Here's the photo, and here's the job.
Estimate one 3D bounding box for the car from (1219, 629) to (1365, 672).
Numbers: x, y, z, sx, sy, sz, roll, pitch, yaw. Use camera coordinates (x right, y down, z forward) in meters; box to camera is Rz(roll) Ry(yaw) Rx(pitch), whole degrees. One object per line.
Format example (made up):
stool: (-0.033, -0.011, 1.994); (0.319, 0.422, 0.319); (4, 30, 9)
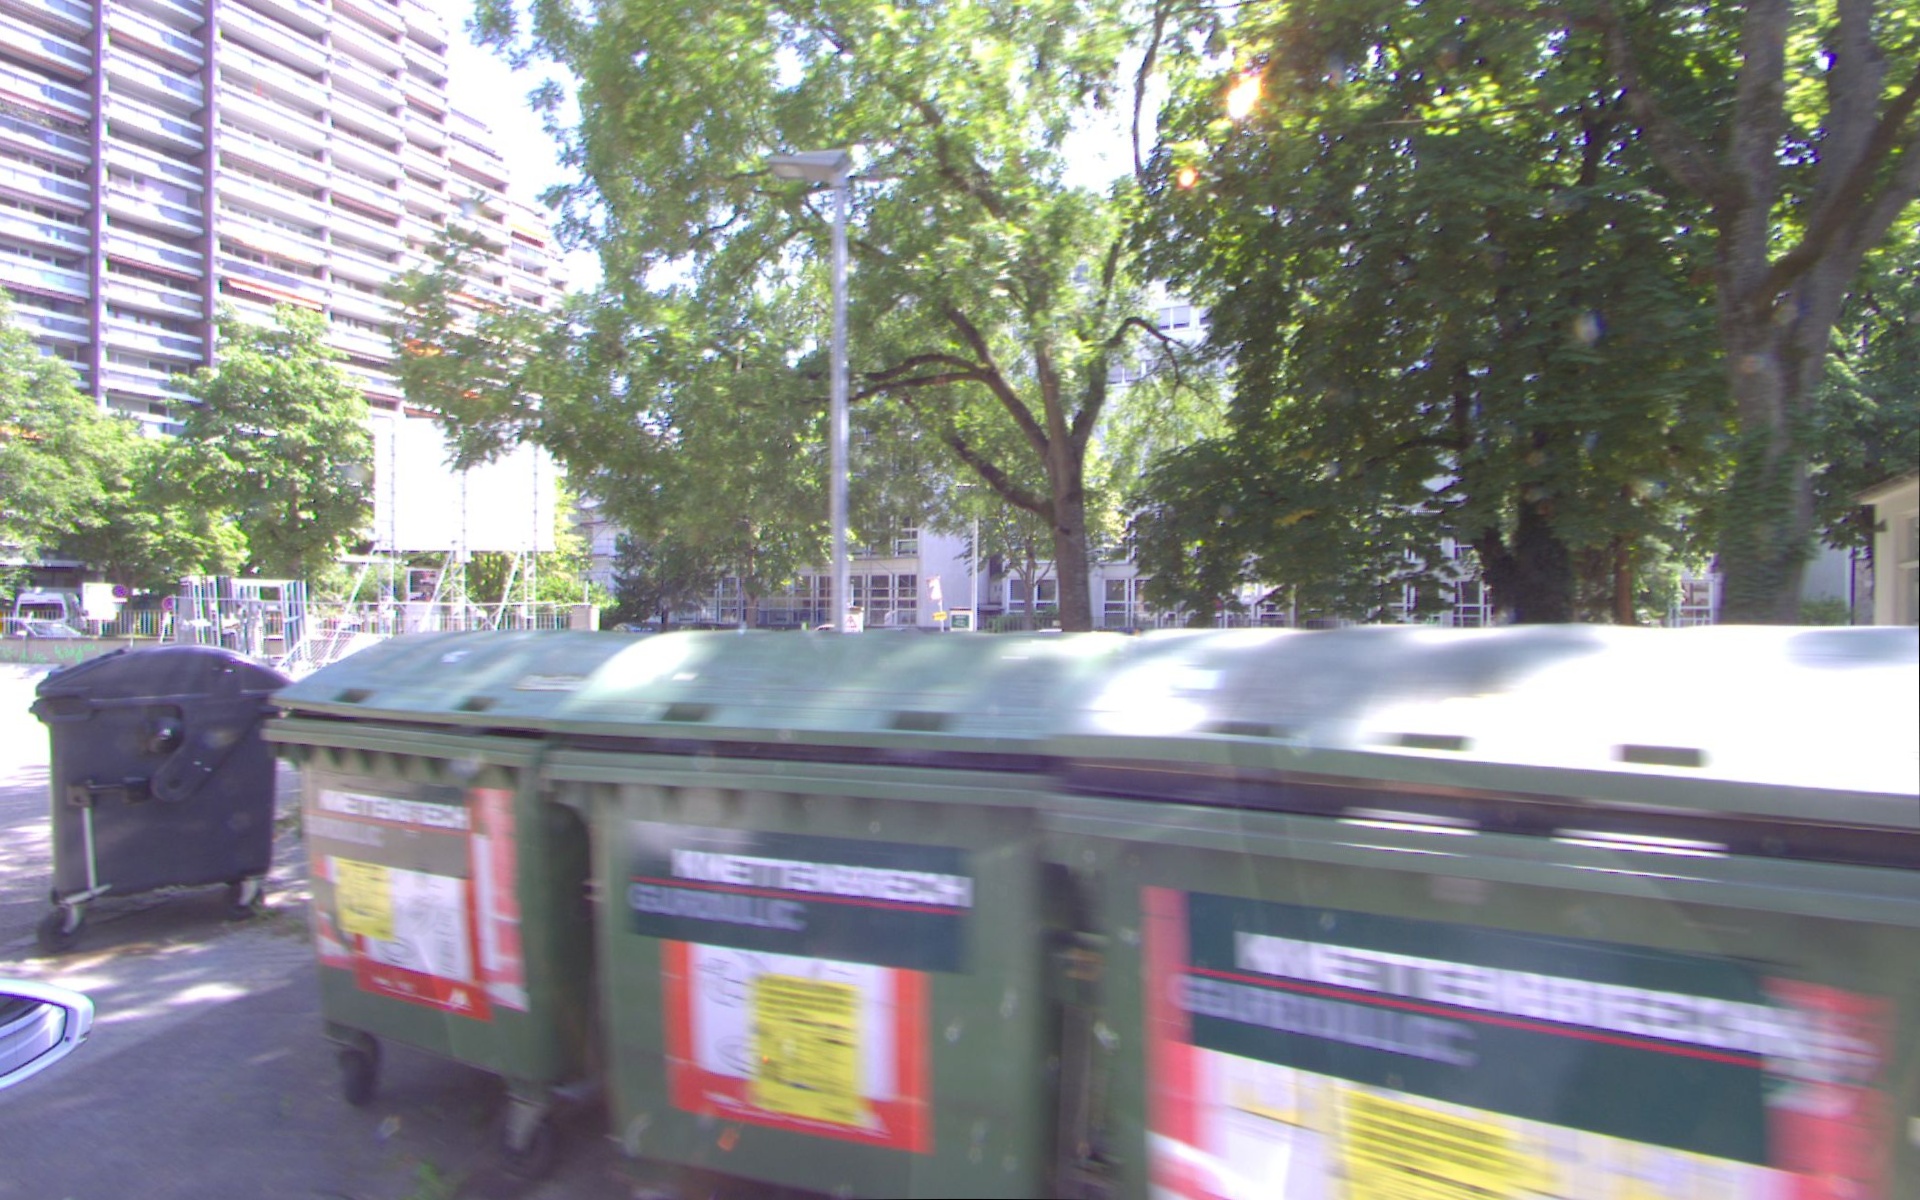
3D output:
car: (11.633, 1.751, 35.252); (4.595, 1.456, 1.674); (0, -1, 2)

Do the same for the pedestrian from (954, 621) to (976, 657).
pedestrian: (0.291, 2.207, 56.706); (0.864, 2.040, 0.992); (0, 0, 31)

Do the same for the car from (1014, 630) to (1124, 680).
car: (3.293, 1.671, 30.769); (3.267, 1.498, 1.433); (0, -1, 2)

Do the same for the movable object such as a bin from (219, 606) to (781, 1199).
movable object such as a bin: (-1.441, 0.770, 3.197); (1.357, 1.477, 1.073); (0, -1, 32)

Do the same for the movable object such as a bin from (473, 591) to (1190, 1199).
movable object such as a bin: (-0.275, 0.740, 2.418); (1.357, 1.477, 1.073); (0, -1, 32)

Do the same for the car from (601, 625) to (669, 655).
car: (-15.429, 1.851, 47.474); (1.898, 1.327, 3.901); (1, -1, -37)

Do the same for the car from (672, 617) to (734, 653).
car: (-12.297, 1.632, 47.733); (1.988, 1.650, 3.912); (0, -1, -29)

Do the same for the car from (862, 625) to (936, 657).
car: (-2.901, 1.910, 47.136); (1.651, 1.433, 3.680); (1, -1, -40)

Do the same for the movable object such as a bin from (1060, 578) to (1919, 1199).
movable object such as a bin: (1.019, 0.728, 1.755); (1.357, 1.477, 1.073); (0, -1, 32)

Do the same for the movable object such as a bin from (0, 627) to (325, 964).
movable object such as a bin: (-4.243, 0.884, 5.247); (1.357, 1.477, 1.073); (0, -1, 32)

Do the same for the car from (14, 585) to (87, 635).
car: (-44.052, 0.510, 48.617); (2.165, 2.287, 4.833); (1, -1, -37)

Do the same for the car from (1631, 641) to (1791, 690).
car: (22.316, 1.937, 29.866); (3.461, 1.360, 1.654); (0, -1, 4)

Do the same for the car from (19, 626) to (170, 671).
car: (-27.888, 1.534, 32.416); (1.583, 1.337, 3.726); (0, -1, 2)

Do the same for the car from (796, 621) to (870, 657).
car: (-6.066, 1.828, 47.567); (1.653, 1.610, 3.657); (1, -1, -43)
